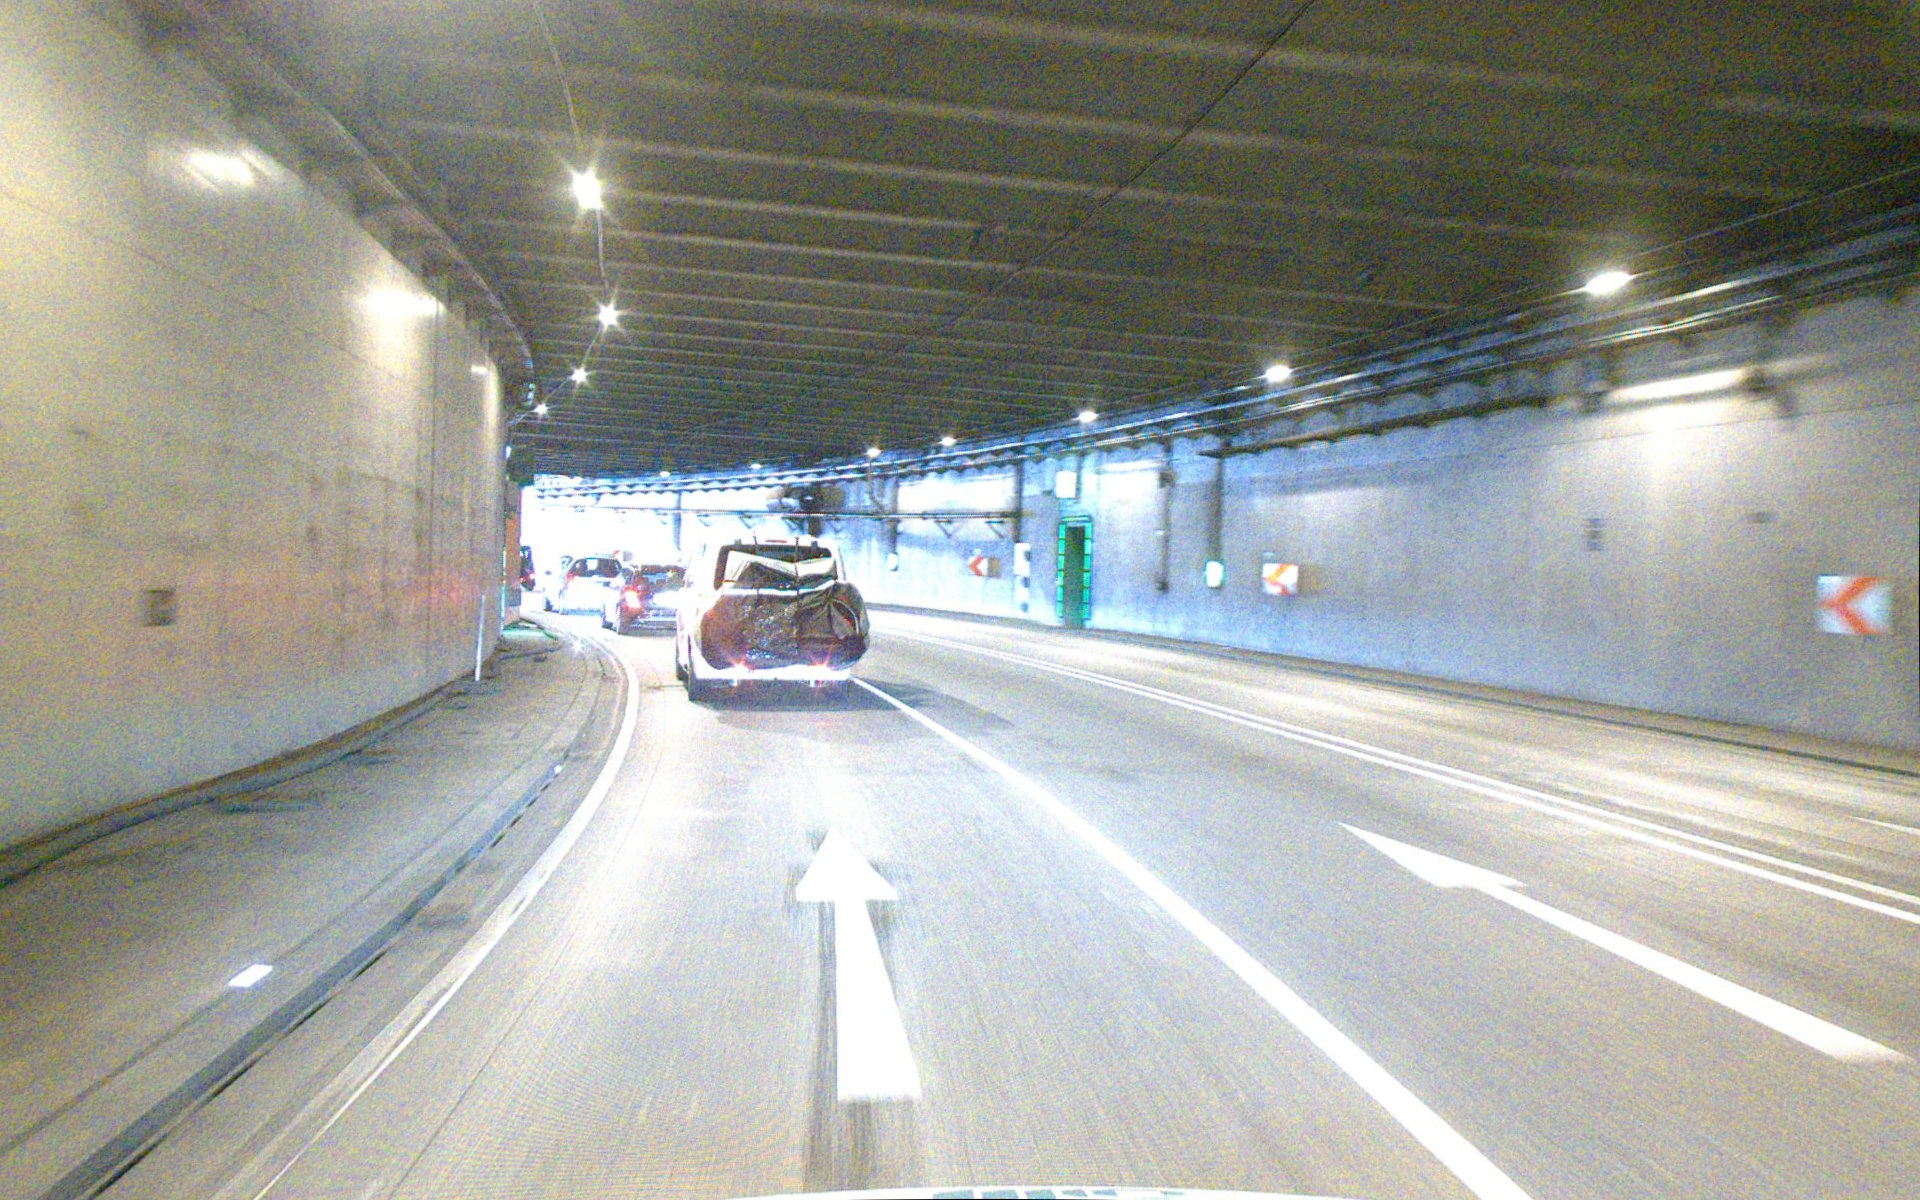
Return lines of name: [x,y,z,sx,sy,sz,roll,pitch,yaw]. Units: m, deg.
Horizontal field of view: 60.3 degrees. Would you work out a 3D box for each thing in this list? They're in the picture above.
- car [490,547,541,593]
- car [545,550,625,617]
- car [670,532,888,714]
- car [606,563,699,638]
car: [-17.077,-1.138,63.482,1.580,1.659,3.335,1,0,-21]
car: [-9.792,-0.427,43.078,1.579,1.622,3.335,2,0,-20]
car: [-2.329,0.172,19.851,1.959,1.879,5.284,0,1,-13]
car: [-6.332,-0.035,33.870,1.577,1.419,3.264,-1,2,-16]
